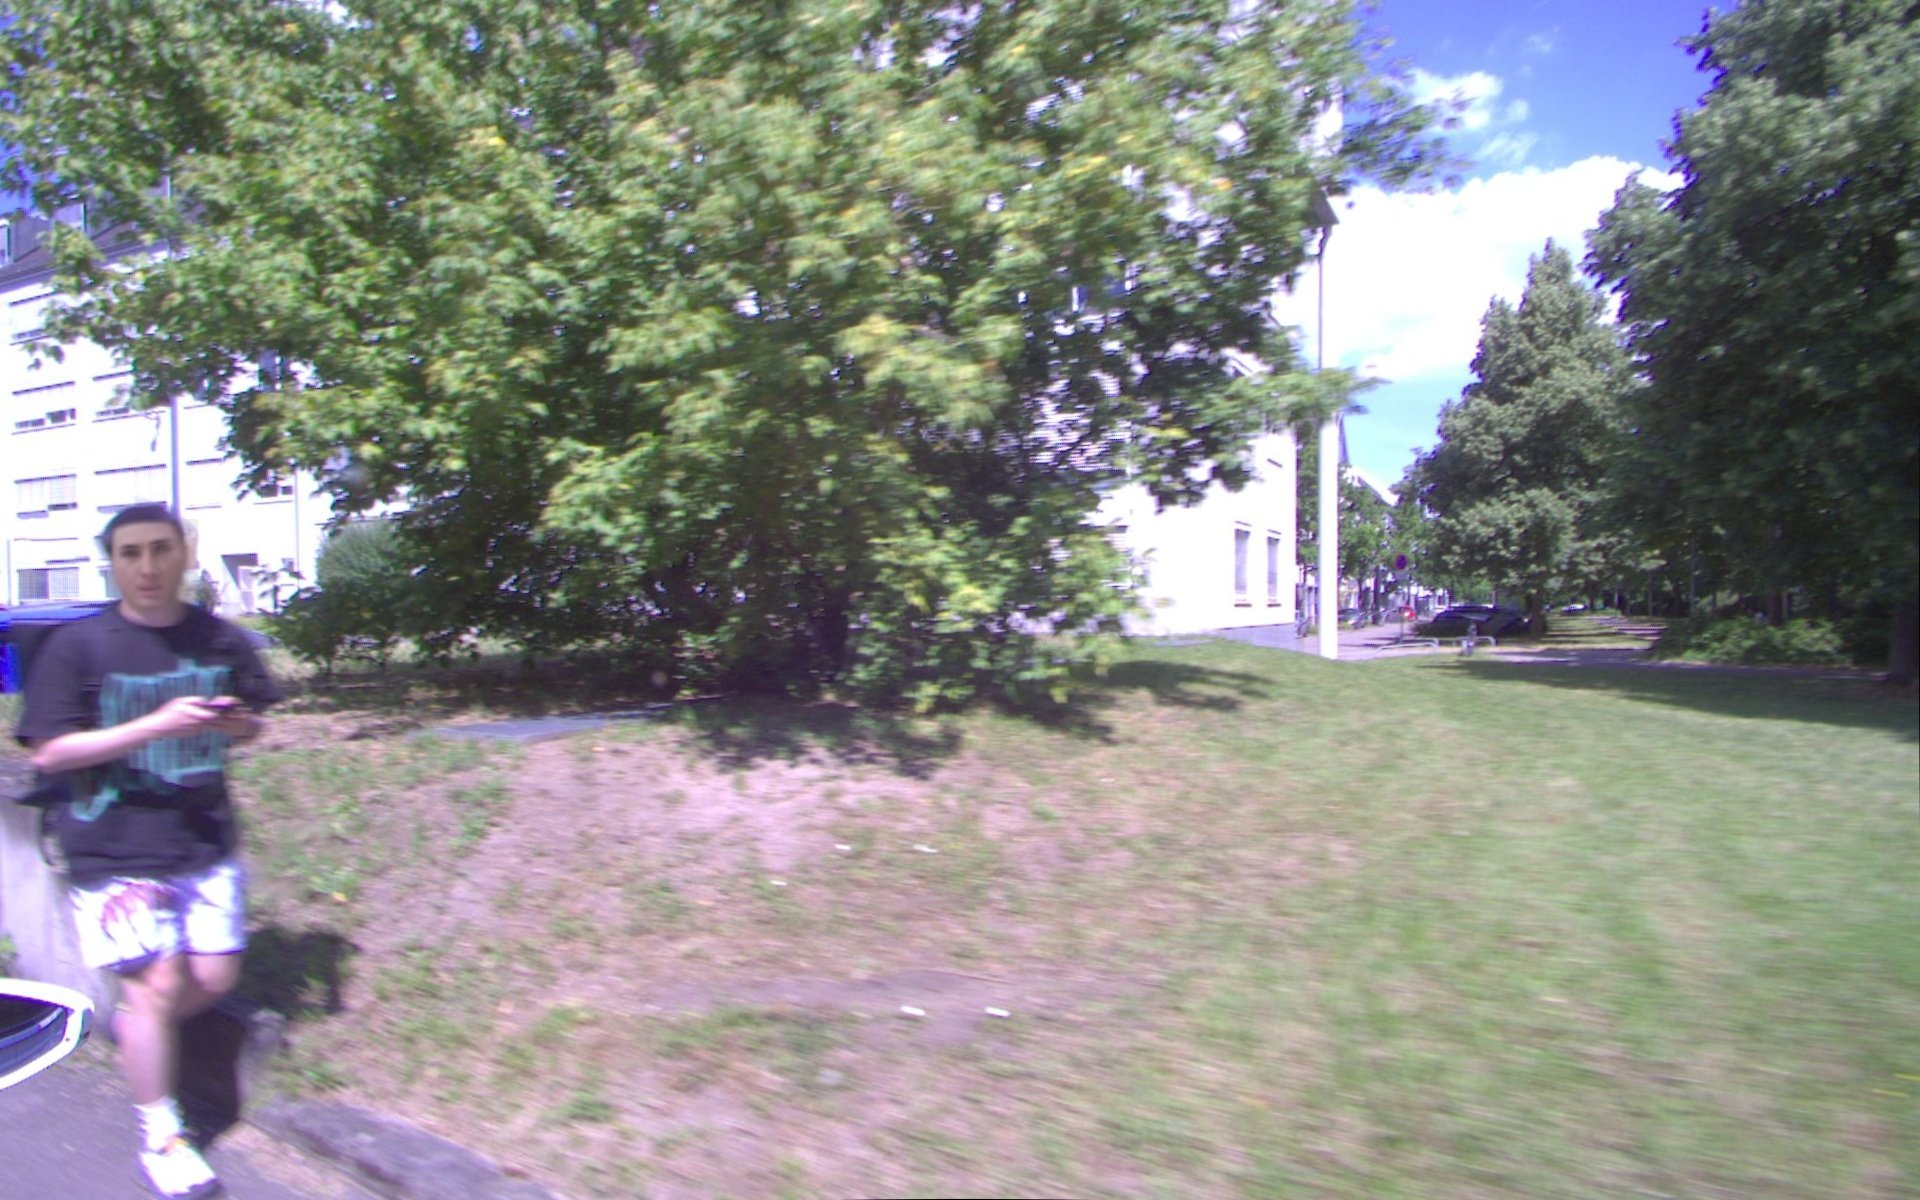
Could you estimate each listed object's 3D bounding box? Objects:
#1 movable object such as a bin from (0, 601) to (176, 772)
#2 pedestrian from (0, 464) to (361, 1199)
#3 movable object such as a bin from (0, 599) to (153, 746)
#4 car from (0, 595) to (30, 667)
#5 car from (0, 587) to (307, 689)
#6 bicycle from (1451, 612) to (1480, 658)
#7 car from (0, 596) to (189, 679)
[{"bbox_3d":[-7.802,0.684,8.728,1.144,1.344,1.213,1,1,33],"label":"movable object such as a bin"},{"bbox_3d":[-2.179,0.600,2.658,0.740,1.779,0.756,1,1,31],"label":"pedestrian"},{"bbox_3d":[-9.045,0.664,9.977,1.142,1.344,1.215,1,1,29],"label":"movable object such as a bin"},{"bbox_3d":[-21.355,0.651,19.797,1.776,1.498,3.982,0,1,29],"label":"car"},{"bbox_3d":[-13.595,0.539,16.861,1.776,1.498,3.982,0,1,29],"label":"car"},{"bbox_3d":[13.031,0.876,25.782,0.592,1.099,1.931,1,1,28],"label":"bicycle"},{"bbox_3d":[-16.796,0.634,18.250,1.776,1.409,3.982,0,1,29],"label":"car"}]
